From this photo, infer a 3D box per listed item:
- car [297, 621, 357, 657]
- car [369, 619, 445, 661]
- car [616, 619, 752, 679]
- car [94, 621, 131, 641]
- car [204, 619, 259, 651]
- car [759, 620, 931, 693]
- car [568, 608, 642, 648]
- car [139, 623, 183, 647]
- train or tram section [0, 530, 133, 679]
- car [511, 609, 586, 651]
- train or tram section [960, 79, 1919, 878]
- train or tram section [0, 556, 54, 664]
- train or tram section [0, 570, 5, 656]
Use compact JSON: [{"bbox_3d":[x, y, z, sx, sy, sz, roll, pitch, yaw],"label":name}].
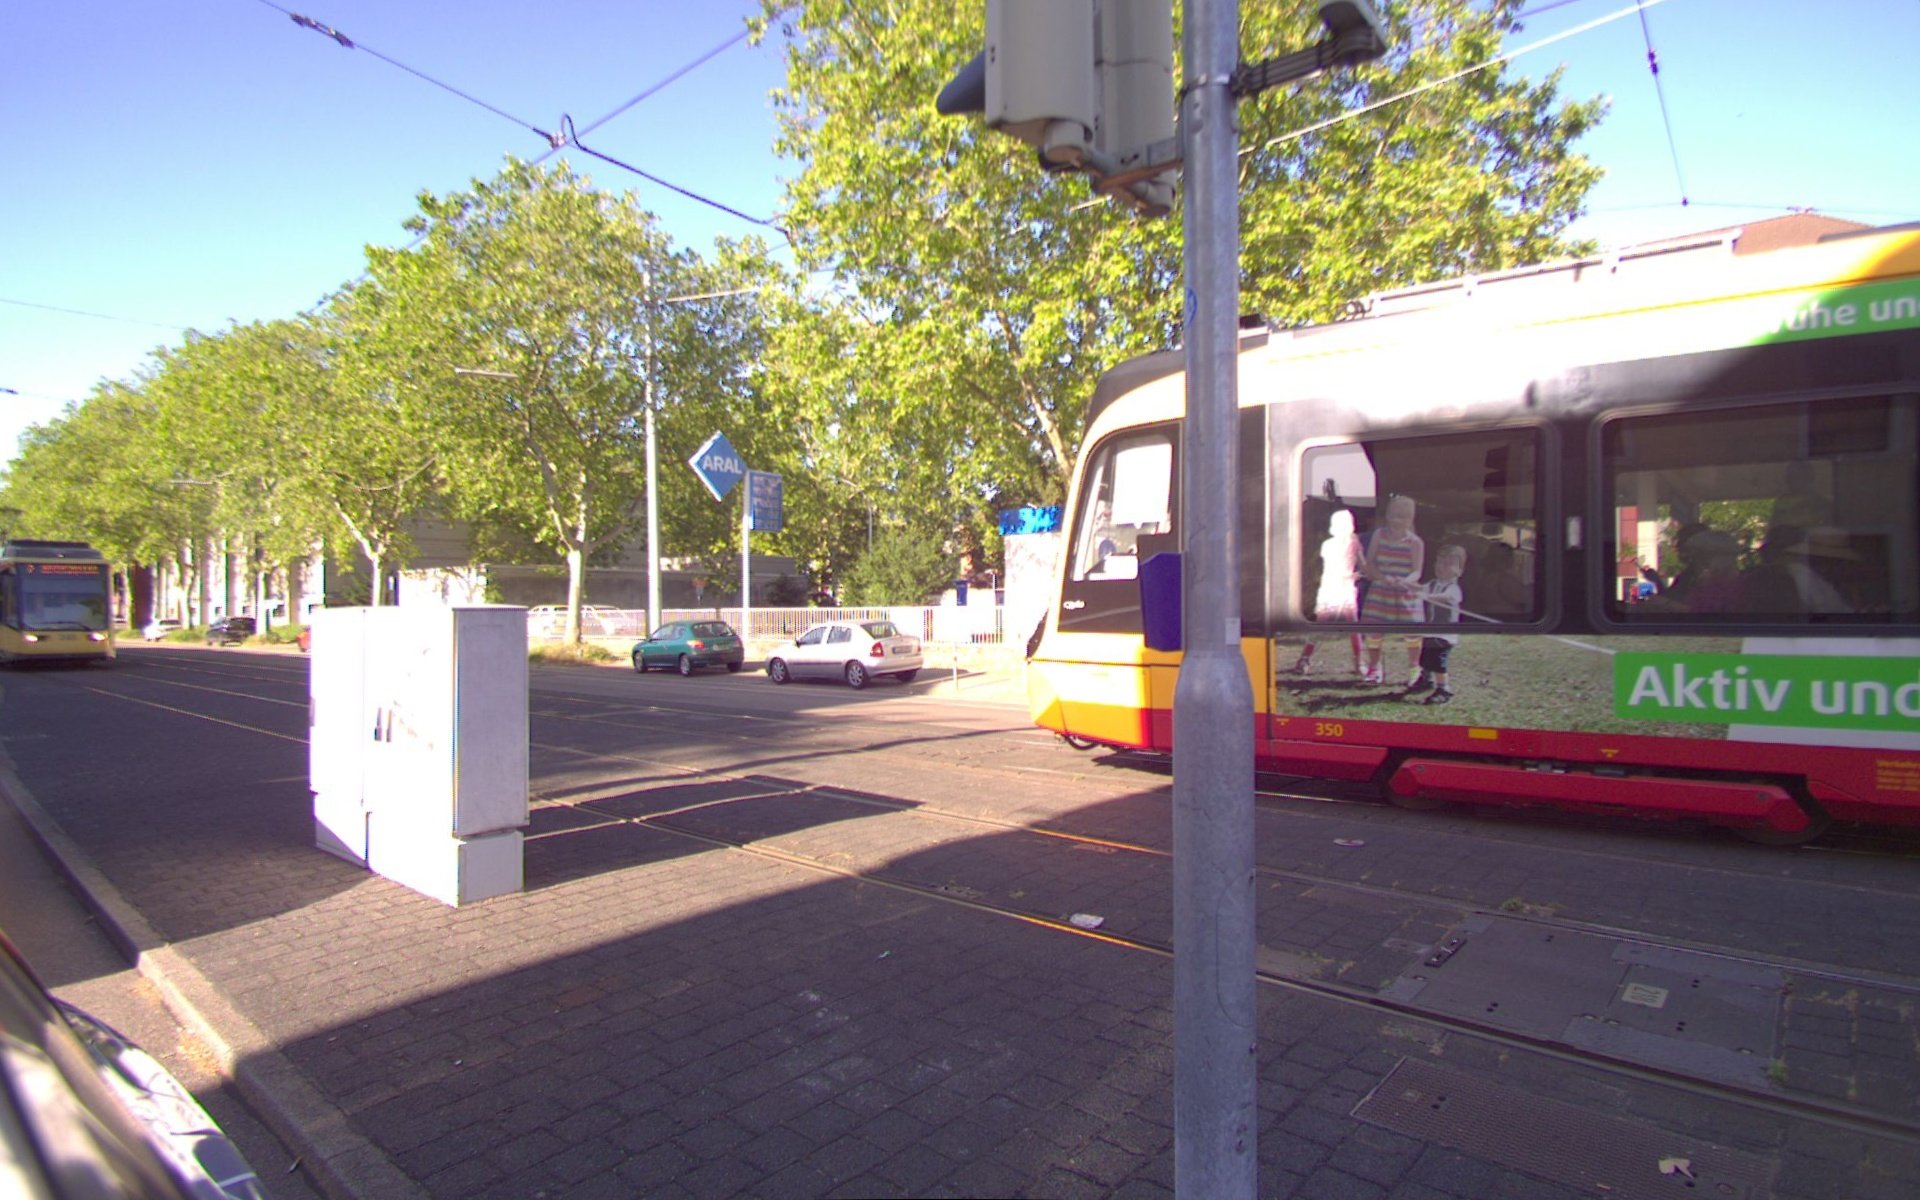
[{"bbox_3d":[-28.680,1.757,45.822,2.621,1.519,1.579,-1,1,41],"label":"car"},{"bbox_3d":[-21.870,1.558,39.994,3.303,1.519,1.579,-1,1,41],"label":"car"},{"bbox_3d":[-7.394,1.265,26.962,3.748,1.413,1.674,-1,1,41],"label":"car"},{"bbox_3d":[-66.671,2.451,79.599,3.748,1.459,1.674,-1,1,41],"label":"car"},{"bbox_3d":[-40.669,1.942,56.445,3.748,1.670,1.674,-1,1,41],"label":"car"},{"bbox_3d":[-2.630,1.204,22.634,3.812,1.413,1.674,-1,1,41],"label":"car"},{"bbox_3d":[-15.259,1.195,43.439,3.303,1.604,1.579,-1,0,41],"label":"car"},{"bbox_3d":[-53.854,2.346,68.171,3.748,1.459,1.674,-1,1,41],"label":"car"},{"bbox_3d":[-27.830,0.221,30.241,12.646,3.692,2.683,-1,-1,41],"label":"train or tram section"},{"bbox_3d":[-17.078,1.230,41.962,3.303,1.628,1.579,-1,0,41],"label":"car"},{"bbox_3d":[6.172,-0.588,5.552,13.020,3.843,2.907,-1,-1,35],"label":"train or tram section"},{"bbox_3d":[-37.368,0.441,38.539,12.646,3.692,2.683,-1,-1,41],"label":"train or tram section"},{"bbox_3d":[-46.916,0.642,46.830,12.646,3.692,2.683,-1,-1,41],"label":"train or tram section"}]
